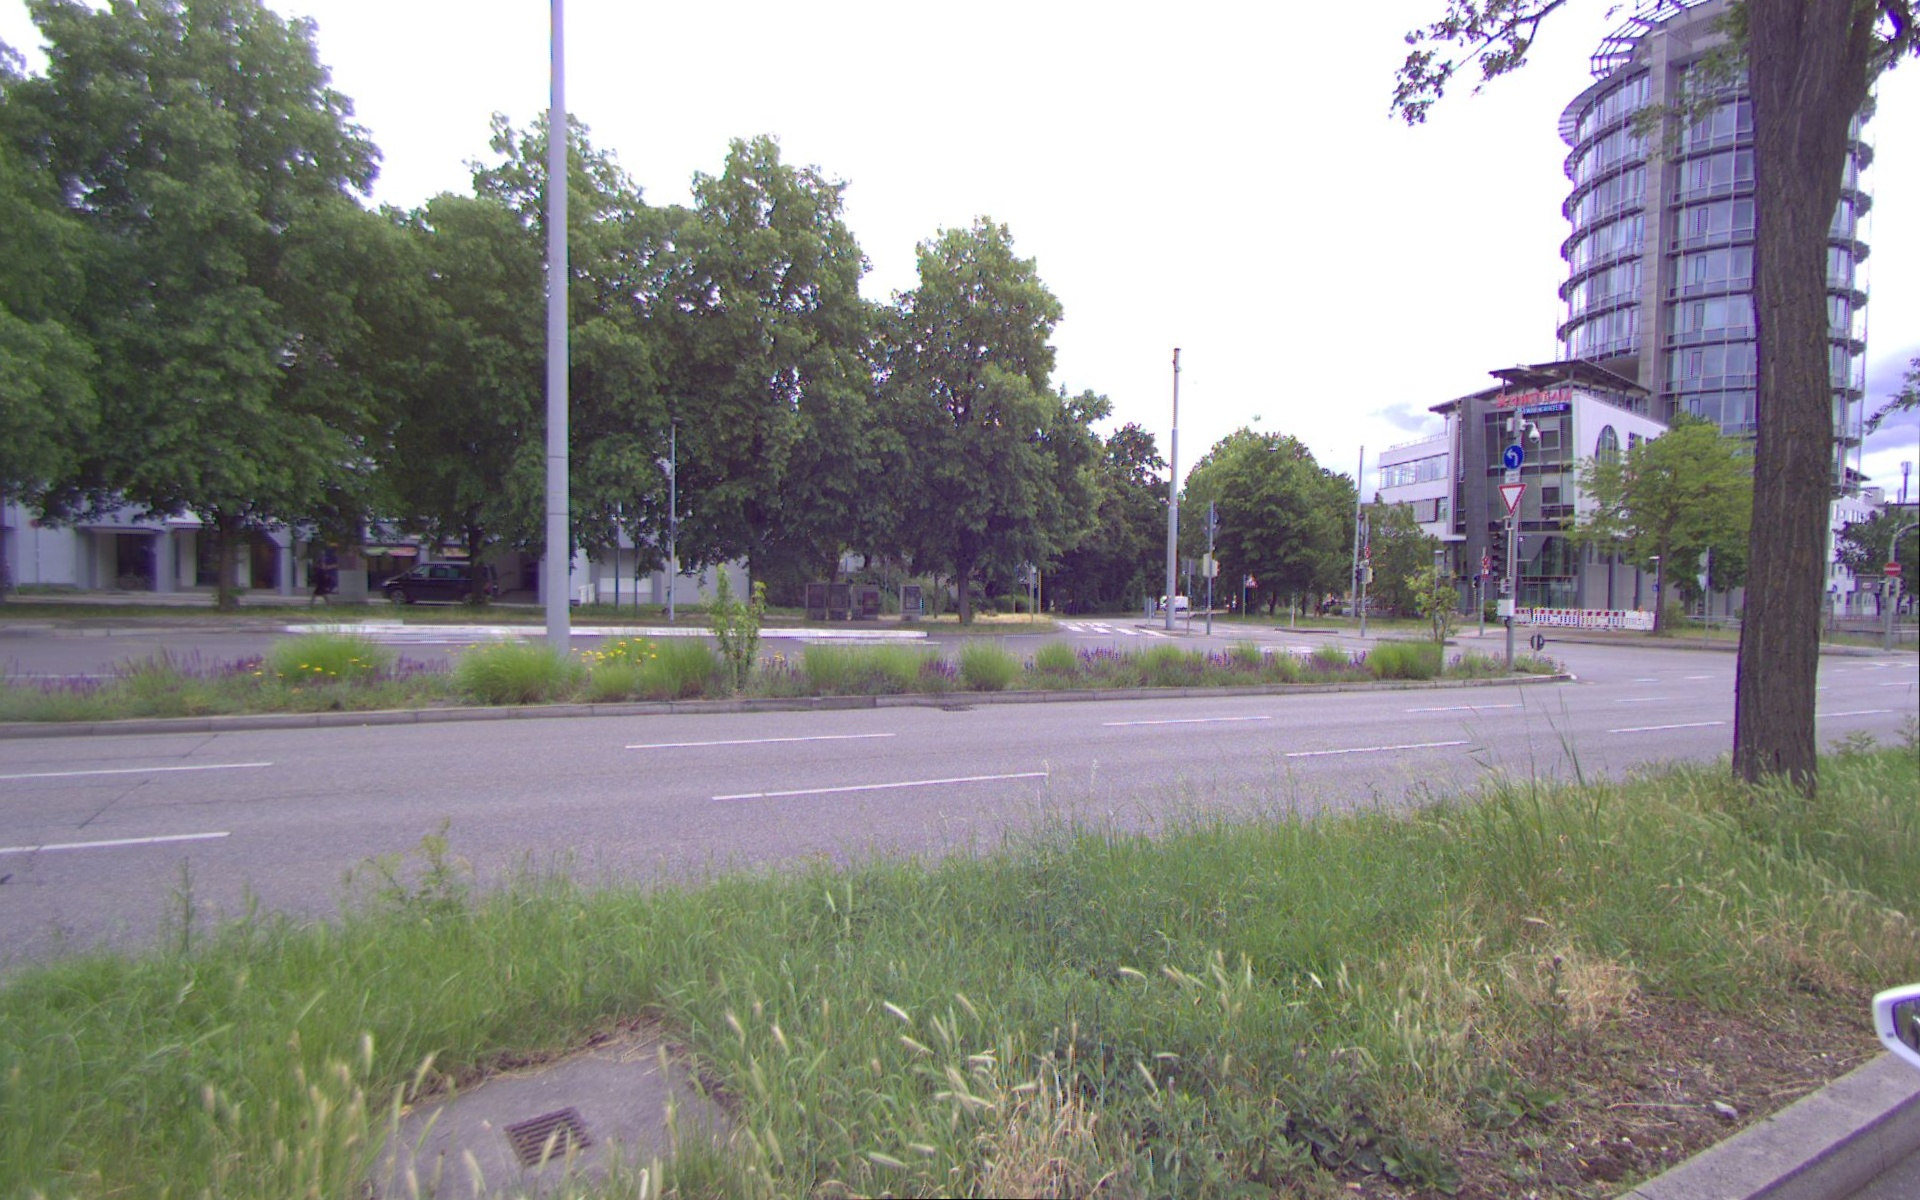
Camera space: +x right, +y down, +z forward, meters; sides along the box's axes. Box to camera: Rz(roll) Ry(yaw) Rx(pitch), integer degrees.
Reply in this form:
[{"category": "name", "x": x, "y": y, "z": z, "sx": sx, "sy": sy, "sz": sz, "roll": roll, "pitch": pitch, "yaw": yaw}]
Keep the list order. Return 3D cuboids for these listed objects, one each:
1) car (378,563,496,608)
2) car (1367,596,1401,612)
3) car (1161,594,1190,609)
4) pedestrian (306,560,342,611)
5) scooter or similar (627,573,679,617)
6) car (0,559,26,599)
[{"category": "car", "x": -23.314, "y": -0.642, "z": 44.948, "sx": 4.345, "sy": 1.872, "sz": 1.781, "roll": 1, "pitch": 1, "yaw": -16}, {"category": "car", "x": 25.043, "y": 0.232, "z": 59.395, "sx": 1.684, "sy": 0.888, "sz": 0.776, "roll": 1, "pitch": 0, "yaw": 7}, {"category": "car", "x": 37.726, "y": 0.248, "z": 175.676, "sx": 4.475, "sy": 2.370, "sz": 1.994, "roll": 2, "pitch": 0, "yaw": -16}, {"category": "pedestrian", "x": -20.220, "y": -0.466, "z": 31.948, "sx": 0.894, "sy": 1.578, "sz": 0.766, "roll": 1, "pitch": 1, "yaw": -30}, {"category": "scooter or similar", "x": -11.867, "y": -0.187, "z": 38.851, "sx": 1.835, "sy": 1.686, "sz": 0.645, "roll": 1, "pitch": 1, "yaw": -43}, {"category": "car", "x": -38.844, "y": -0.871, "z": 38.648, "sx": 3.927, "sy": 1.532, "sz": 1.757, "roll": 1, "pitch": 1, "yaw": -9}]
